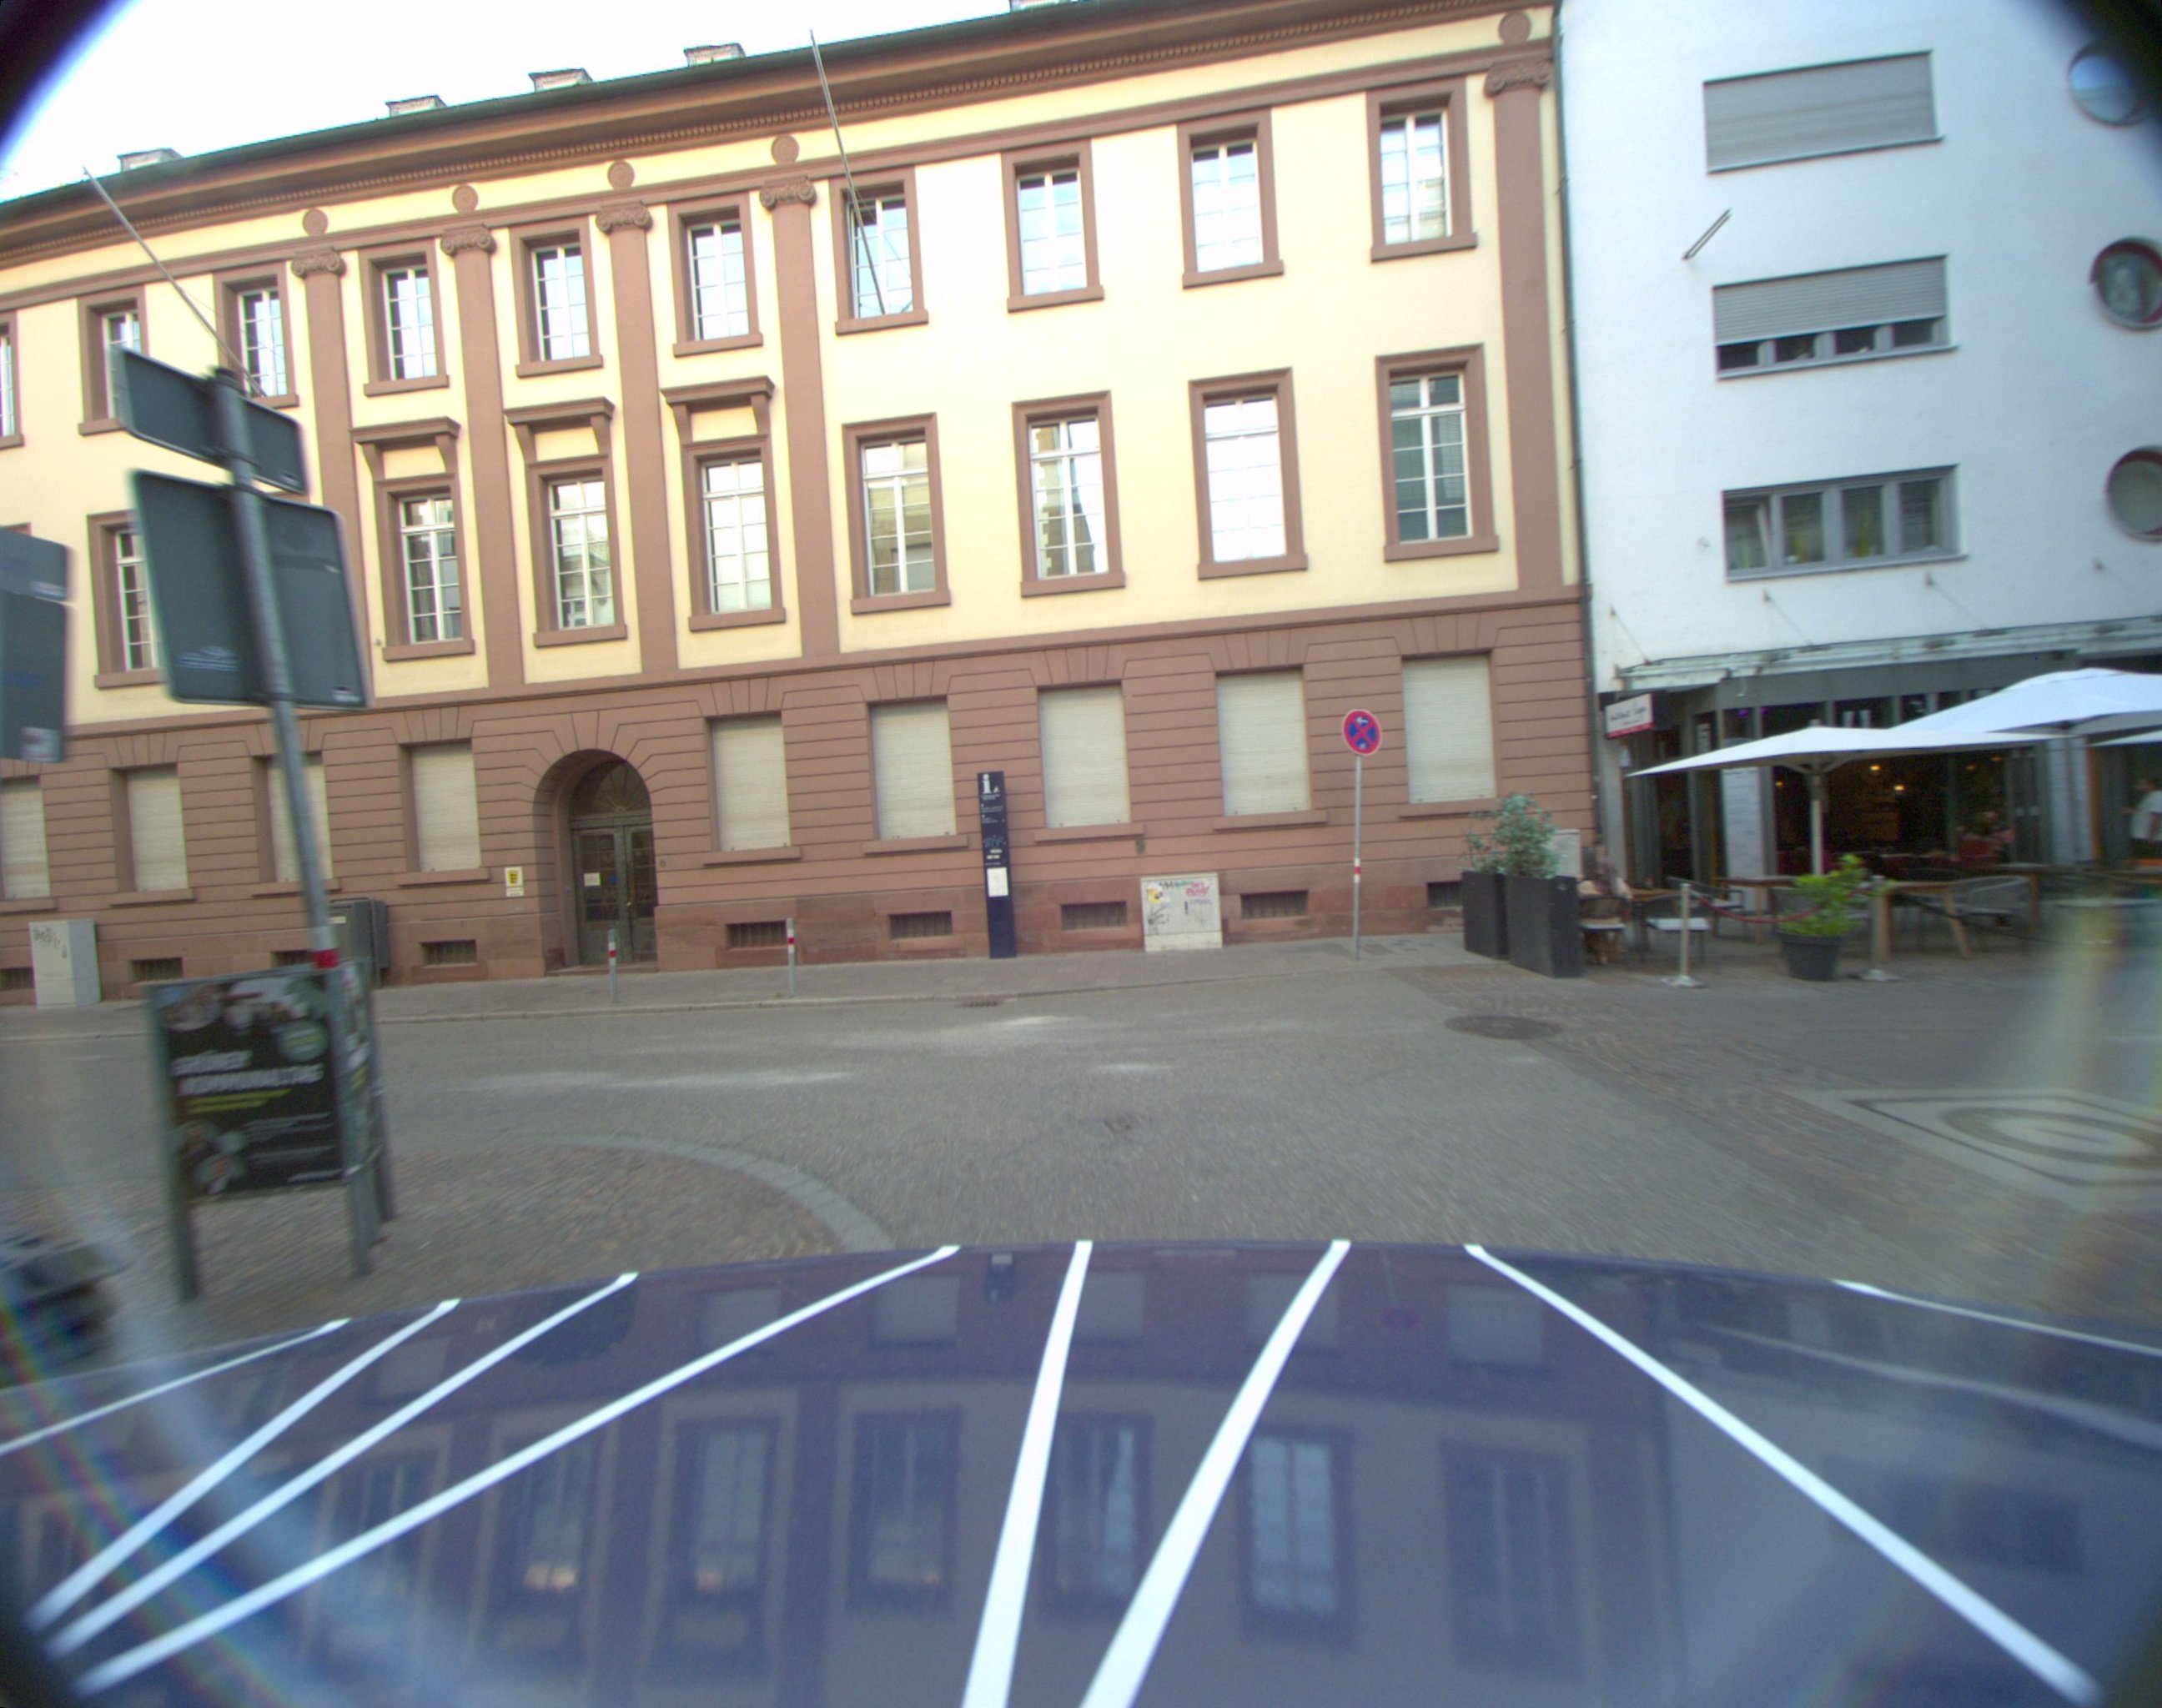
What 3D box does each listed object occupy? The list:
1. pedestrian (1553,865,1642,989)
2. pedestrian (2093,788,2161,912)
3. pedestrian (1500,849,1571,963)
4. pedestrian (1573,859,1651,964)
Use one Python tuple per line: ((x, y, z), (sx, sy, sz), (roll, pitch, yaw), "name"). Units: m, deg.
((5.281, 0.733, 7.789), (0.561, 1.204, 0.461), (-3, 1, 8), "pedestrian")
((14.668, -0.061, 10.503), (0.671, 1.656, 0.623), (-4, 1, -22), "pedestrian")
((5.593, 0.624, 9.365), (0.548, 1.341, 0.489), (-3, 1, 8), "pedestrian")
((6.382, 0.676, 9.154), (0.548, 1.204, 0.524), (-3, 1, 8), "pedestrian")
